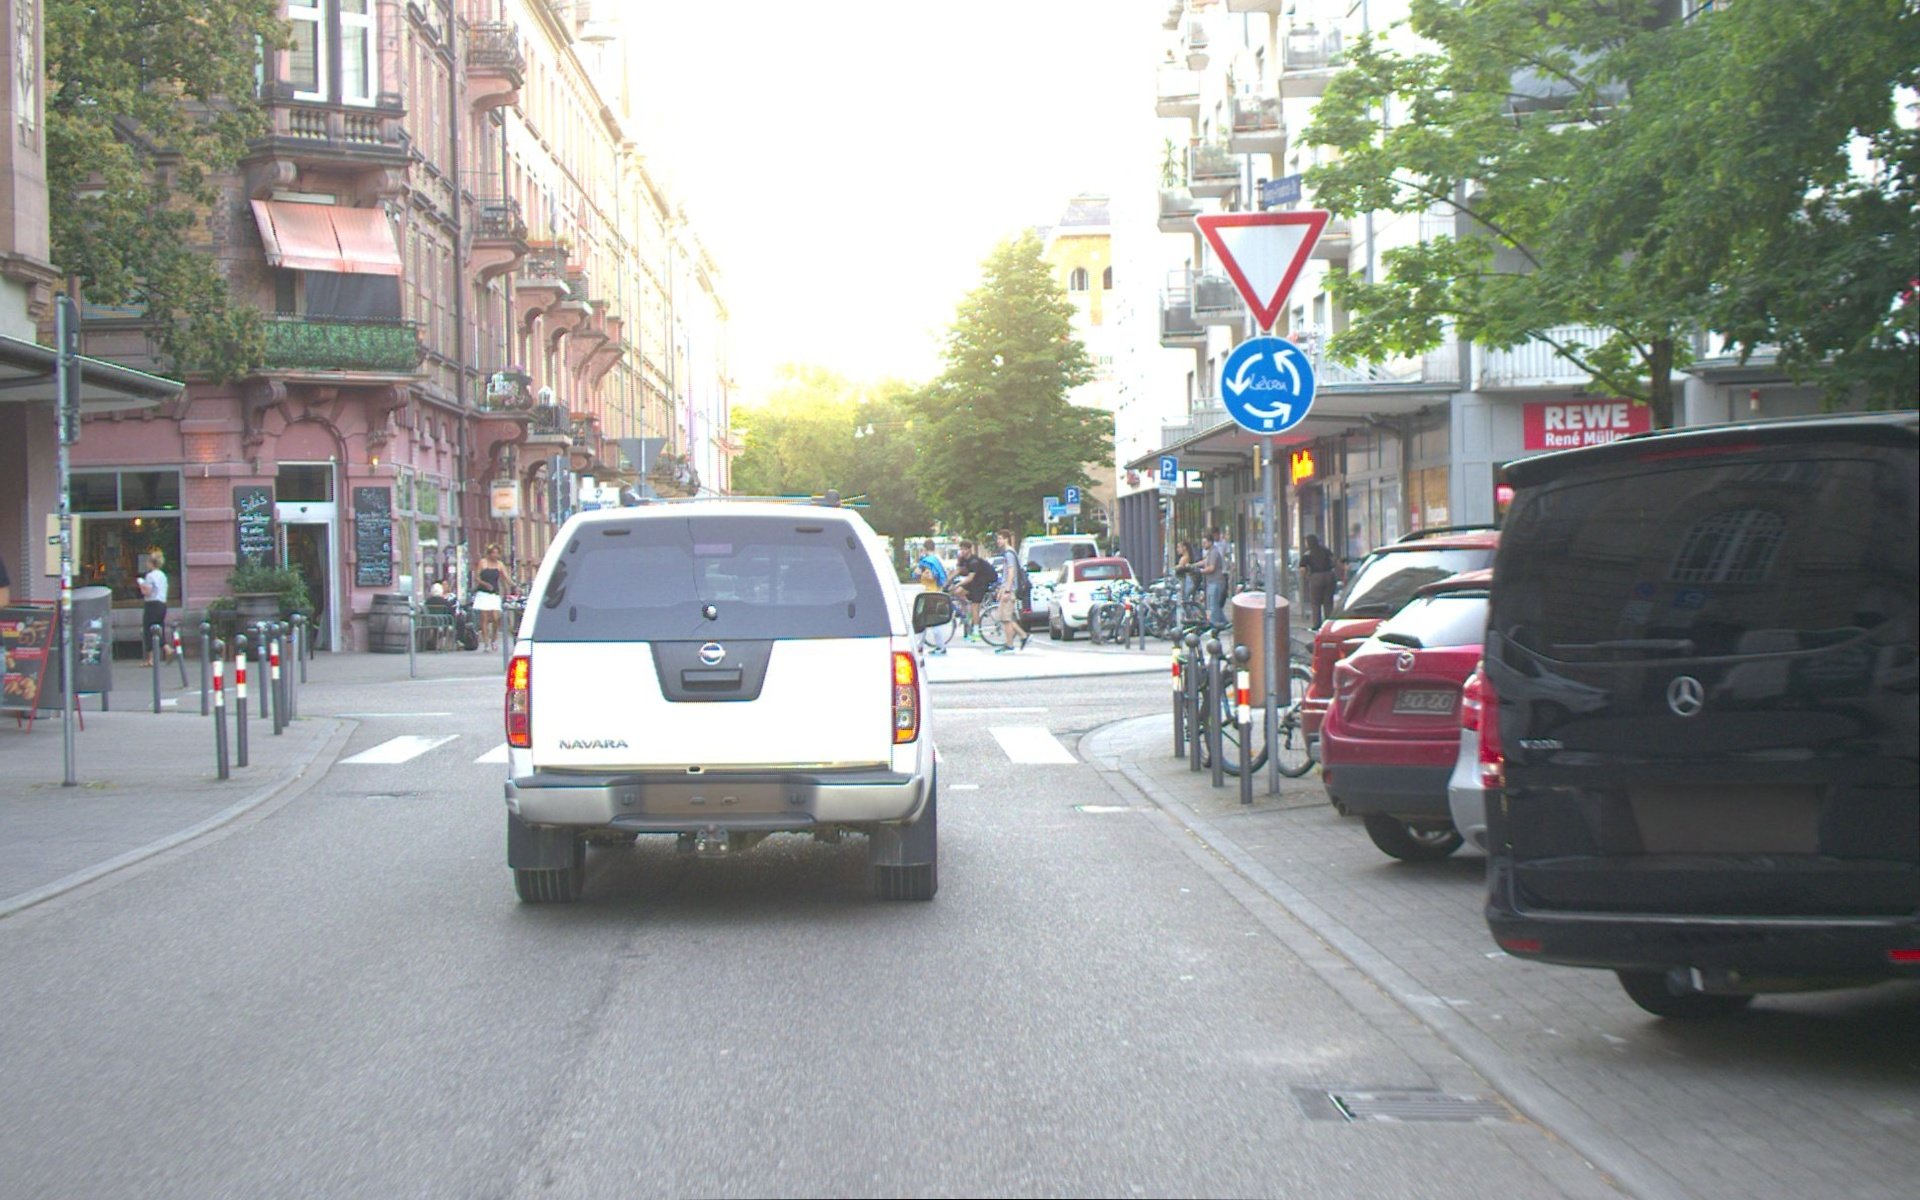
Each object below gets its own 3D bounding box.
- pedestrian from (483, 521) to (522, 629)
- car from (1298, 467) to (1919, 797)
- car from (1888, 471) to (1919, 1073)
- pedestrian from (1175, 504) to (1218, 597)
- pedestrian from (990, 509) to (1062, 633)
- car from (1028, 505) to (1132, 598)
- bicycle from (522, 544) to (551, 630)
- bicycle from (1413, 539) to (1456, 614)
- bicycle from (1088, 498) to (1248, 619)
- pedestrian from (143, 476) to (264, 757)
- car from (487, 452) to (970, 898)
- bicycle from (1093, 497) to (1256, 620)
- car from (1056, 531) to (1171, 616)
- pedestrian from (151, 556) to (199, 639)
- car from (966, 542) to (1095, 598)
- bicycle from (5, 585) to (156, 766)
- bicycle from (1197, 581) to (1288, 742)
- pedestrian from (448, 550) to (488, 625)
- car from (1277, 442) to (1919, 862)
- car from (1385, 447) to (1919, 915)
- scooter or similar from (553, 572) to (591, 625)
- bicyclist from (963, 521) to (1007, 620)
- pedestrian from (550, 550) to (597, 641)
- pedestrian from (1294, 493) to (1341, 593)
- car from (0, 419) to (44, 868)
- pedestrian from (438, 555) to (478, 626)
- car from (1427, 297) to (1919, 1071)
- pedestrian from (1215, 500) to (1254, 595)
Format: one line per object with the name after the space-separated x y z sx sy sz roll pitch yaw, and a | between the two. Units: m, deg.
-7.802 -0.427 58.609 0.503 1.834 0.573 0 0 -24 | pedestrian
4.115 0.112 20.030 4.036 1.622 1.693 -4 3 -33 | car
4.346 0.337 8.089 4.096 1.546 1.818 -5 2 -32 | car
4.235 -0.890 61.601 0.720 1.657 0.702 0 0 -1 | pedestrian
1.004 -0.437 52.330 0.903 1.878 0.616 0 0 -32 | pedestrian
2.523 -1.016 73.151 1.942 1.927 4.000 0 0 -2 | car
-7.175 -0.224 58.268 0.424 1.437 1.905 0 0 -6 | bicycle
7.047 -0.353 51.078 0.289 1.109 0.966 0 0 -14 | bicycle
3.484 -0.690 57.721 2.647 2.007 0.638 0 0 0 | bicycle
-4.991 0.102 22.724 0.536 1.817 0.997 0 0 2 | pedestrian
-0.934 0.288 16.472 1.938 1.804 5.001 0 0 0 | car
3.542 -0.684 56.907 2.647 2.007 0.638 0 0 0 | bicycle
2.848 -0.501 64.378 1.834 1.536 4.000 0 0 -2 | car
-11.883 -0.038 52.074 0.455 1.258 0.574 0 0 23 | pedestrian
2.223 -0.944 109.389 3.986 1.744 1.841 0 0 -2 | car
-5.769 0.472 22.627 0.471 1.138 1.784 0 0 2 | bicycle
1.912 0.401 23.394 0.364 1.060 1.552 0 0 -5 | bicycle
-8.522 -0.217 59.571 0.648 1.281 0.540 0 0 -5 | pedestrian
3.773 0.141 16.688 4.212 1.682 1.933 -5 2 -39 | car
4.039 0.181 14.257 4.211 1.617 1.933 -5 2 -34 | car
-6.742 -0.030 59.714 0.233 0.926 1.266 0 0 -26 | scooter or similar
0.502 -0.584 68.172 0.838 1.937 0.785 0 0 3 | bicyclist
-6.924 -0.079 61.631 0.797 1.615 0.944 0 0 -3 | pedestrian
5.941 -0.945 57.120 0.720 1.657 0.702 0 0 1 | pedestrian
-5.074 0.224 12.913 2.109 1.915 5.026 -1 1 -3 | car
-8.525 -0.161 58.385 0.648 1.187 0.540 0 0 -5 | pedestrian
4.183 0.054 11.421 5.422 2.065 1.933 -5 2 -39 | car
5.563 -1.059 69.718 0.720 1.900 0.702 0 0 -1 | pedestrian
